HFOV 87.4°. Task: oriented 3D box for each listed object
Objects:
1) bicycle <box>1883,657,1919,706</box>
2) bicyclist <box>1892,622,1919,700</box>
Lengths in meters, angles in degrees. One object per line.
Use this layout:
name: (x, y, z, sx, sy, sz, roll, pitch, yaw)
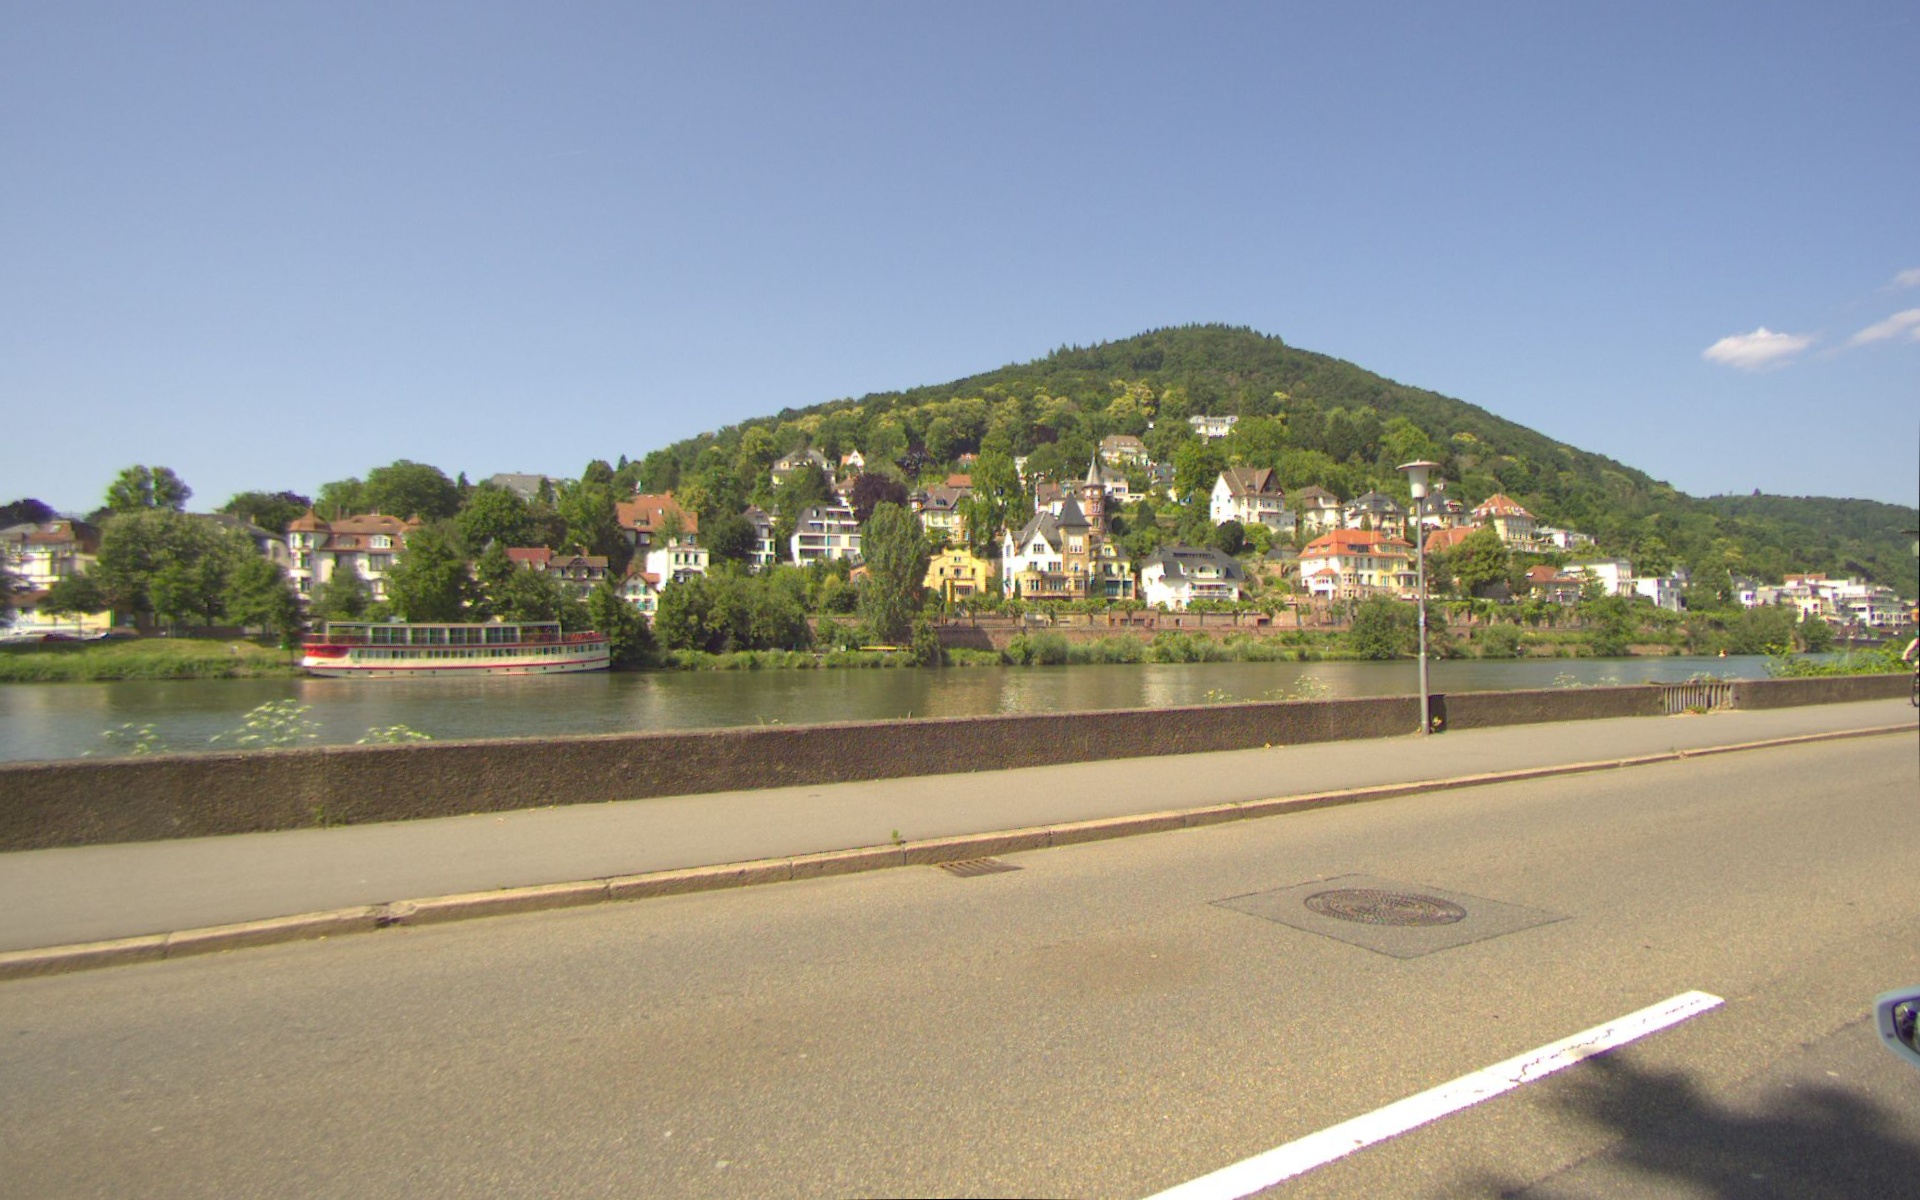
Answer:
bicycle: (21.385, 1.798, 22.414, 1.963, 1.025, 0.629, 1, -3, -32)
bicyclist: (21.340, 1.352, 22.342, 0.861, 1.695, 0.634, 1, -3, -32)
